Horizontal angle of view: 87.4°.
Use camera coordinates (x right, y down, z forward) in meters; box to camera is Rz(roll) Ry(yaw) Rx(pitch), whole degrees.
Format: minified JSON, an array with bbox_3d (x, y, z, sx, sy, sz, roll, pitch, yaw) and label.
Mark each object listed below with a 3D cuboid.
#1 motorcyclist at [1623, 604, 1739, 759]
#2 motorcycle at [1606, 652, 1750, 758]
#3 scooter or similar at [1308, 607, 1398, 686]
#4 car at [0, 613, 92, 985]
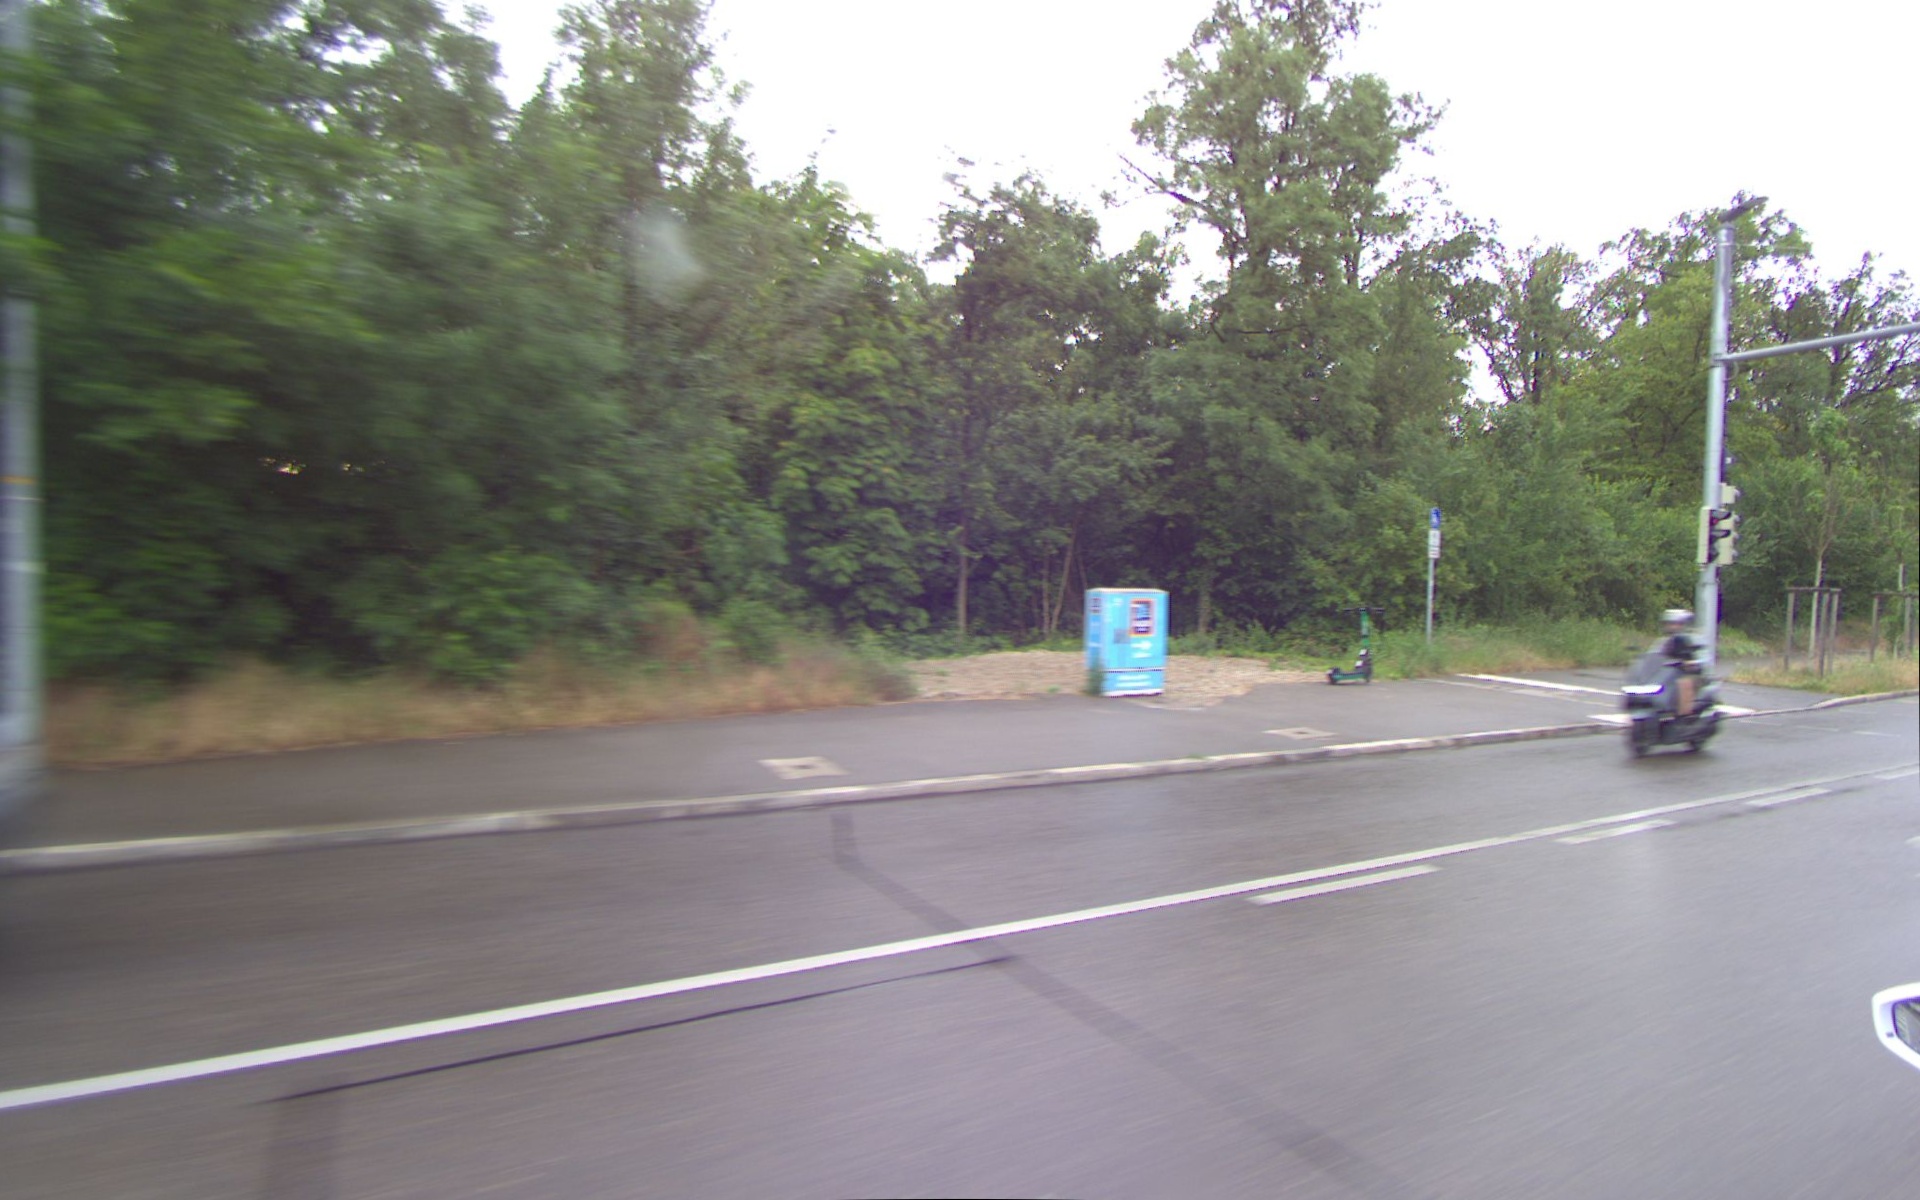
[{"bbox_3d":[8.128,0.878,11.329,0.916,1.654,0.742,1,1,-31],"label":"motorcyclist"},{"bbox_3d":[8.149,1.150,11.378,1.976,1.065,0.591,1,0,-32],"label":"motorcycle"},{"bbox_3d":[6.463,0.753,16.515,1.450,1.229,0.515,1,2,-28],"label":"scooter or similar"},{"bbox_3d":[-5.536,0.729,2.997,4.158,1.370,1.733,1,0,-29],"label":"car"}]
